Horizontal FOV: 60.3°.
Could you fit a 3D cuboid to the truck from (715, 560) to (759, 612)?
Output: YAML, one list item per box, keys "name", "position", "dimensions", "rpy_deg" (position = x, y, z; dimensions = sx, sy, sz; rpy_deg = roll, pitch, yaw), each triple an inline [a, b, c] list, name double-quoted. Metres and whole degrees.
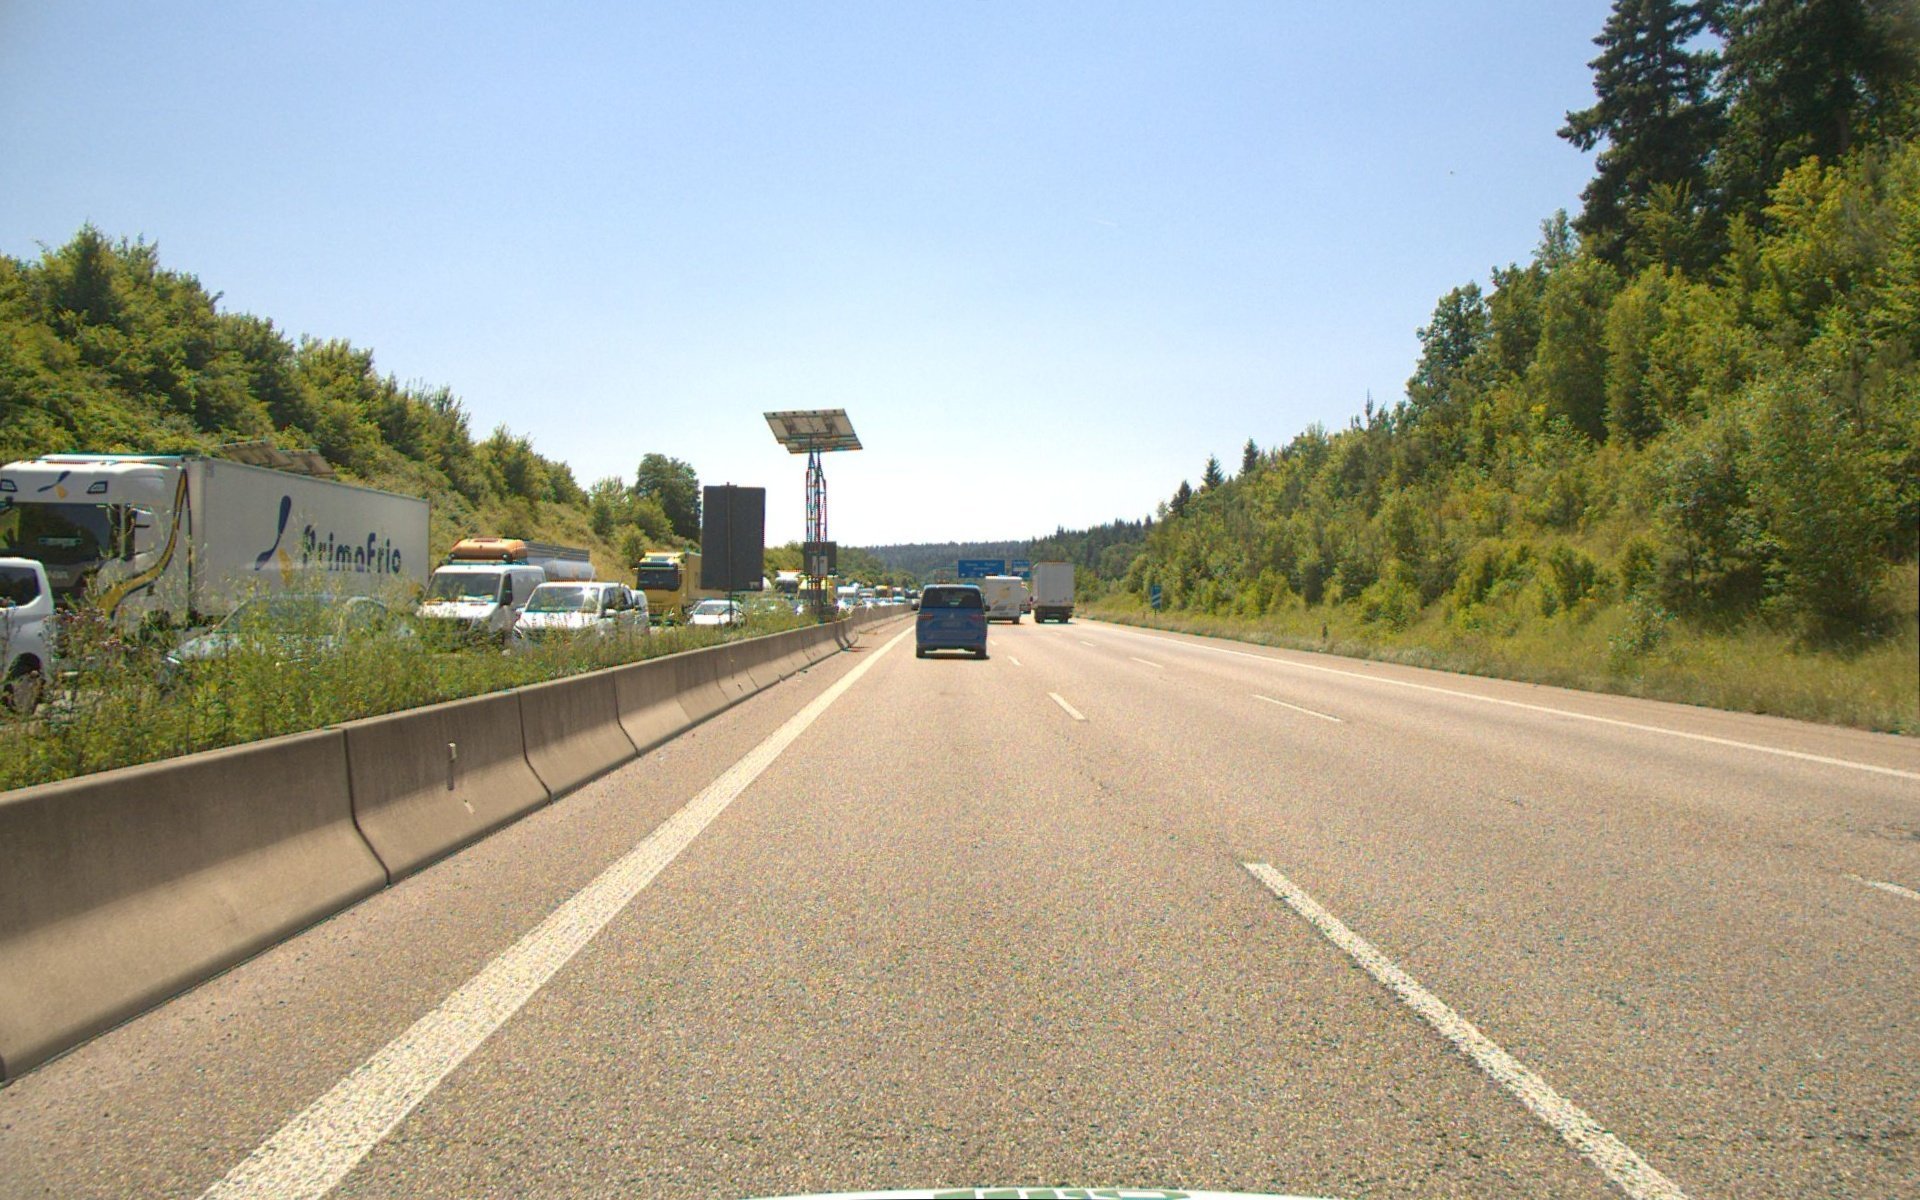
- name: "truck"
  position: [-16.744, -1.015, 124.325]
  dimensions: [2.624, 3.809, 5.869]
  rpy_deg: [1, 0, -2]

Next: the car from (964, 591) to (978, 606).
- name: "car"
  position: [1.420, -0.217, 210.122]
  dimensions: [1.739, 1.803, 4.000]
  rpy_deg: [0, 0, 0]

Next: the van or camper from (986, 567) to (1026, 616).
- name: "van or camper"
  position: [3.017, -0.627, 109.756]
  dimensions: [2.549, 3.132, 7.183]
  rpy_deg: [1, 1, 1]

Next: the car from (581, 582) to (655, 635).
- name: "car"
  position: [-12.149, 0.319, 59.084]
  dimensions: [1.791, 1.793, 4.757]
  rpy_deg: [1, 0, -2]

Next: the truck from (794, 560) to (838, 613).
- name: "truck"
  position: [-8.563, -0.755, 99.064]
  dimensions: [2.222, 3.069, 6.774]
  rpy_deg: [1, 0, -2]

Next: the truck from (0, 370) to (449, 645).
- name: "truck"
  position: [-15.664, -1.496, 36.160]
  dimensions: [3.621, 4.534, 17.379]
  rpy_deg: [1, 0, 0]

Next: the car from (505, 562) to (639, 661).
- name: "car"
  position: [-8.471, 0.253, 36.607]
  dimensions: [1.789, 2.012, 5.663]
  rpy_deg: [1, 0, -2]

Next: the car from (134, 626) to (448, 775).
- name: "car"
  position: [-7.938, 1.110, 20.272]
  dimensions: [1.789, 1.504, 5.397]
  rpy_deg: [1, 0, -2]

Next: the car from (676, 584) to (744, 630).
- name: "car"
  position: [-8.692, 0.252, 57.823]
  dimensions: [1.791, 1.523, 4.757]
  rpy_deg: [1, 0, -2]

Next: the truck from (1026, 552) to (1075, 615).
- name: "truck"
  position: [6.332, -1.077, 117.291]
  dimensions: [2.727, 4.201, 9.737]
  rpy_deg: [1, 0, -1]

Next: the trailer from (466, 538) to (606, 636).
- name: "trailer"
  position: [-15.968, -0.395, 63.253]
  dimensions: [2.525, 3.352, 11.692]
  rpy_deg: [1, 0, -1]

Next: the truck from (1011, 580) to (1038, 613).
- name: "truck"
  position: [7.496, -0.445, 193.230]
  dimensions: [2.867, 3.637, 8.528]
  rpy_deg: [-1, 1, 1]

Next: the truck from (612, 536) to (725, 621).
- name: "truck"
  position: [-16.995, -1.113, 98.108]
  dimensions: [3.621, 4.534, 17.379]
  rpy_deg: [1, 0, 0]

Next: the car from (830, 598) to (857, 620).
- name: "car"
  position: [-8.576, 0.672, 121.940]
  dimensions: [1.791, 1.523, 4.757]
  rpy_deg: [1, 0, -2]

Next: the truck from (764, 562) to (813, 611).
- name: "truck"
  position: [-16.911, -1.247, 164.460]
  dimensions: [3.622, 4.534, 16.667]
  rpy_deg: [1, 0, -2]

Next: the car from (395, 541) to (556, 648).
- name: "car"
  position: [-11.871, -0.106, 41.072]
  dimensions: [2.140, 2.426, 6.539]
  rpy_deg: [1, 0, -1]

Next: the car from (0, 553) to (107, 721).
- name: "car"
  position: [-12.373, 0.412, 18.789]
  dimensions: [2.139, 1.975, 5.886]
  rpy_deg: [1, 0, 2]

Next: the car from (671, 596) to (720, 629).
- name: "car"
  position: [-12.809, 0.582, 80.312]
  dimensions: [1.791, 1.523, 4.757]
  rpy_deg: [1, 0, -2]

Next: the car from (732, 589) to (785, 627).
- name: "car"
  position: [-8.524, 0.335, 70.233]
  dimensions: [1.791, 1.523, 4.757]
  rpy_deg: [1, 0, -2]

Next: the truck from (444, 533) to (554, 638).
- name: "truck"
  position: [-15.814, -0.470, 57.038]
  dimensions: [2.443, 3.424, 5.184]
  rpy_deg: [1, 0, -2]

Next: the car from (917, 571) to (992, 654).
- name: "car"
  position: [-0.163, 0.311, 44.215]
  dimensions: [1.870, 2.049, 3.999]
  rpy_deg: [2, 0, -1]
